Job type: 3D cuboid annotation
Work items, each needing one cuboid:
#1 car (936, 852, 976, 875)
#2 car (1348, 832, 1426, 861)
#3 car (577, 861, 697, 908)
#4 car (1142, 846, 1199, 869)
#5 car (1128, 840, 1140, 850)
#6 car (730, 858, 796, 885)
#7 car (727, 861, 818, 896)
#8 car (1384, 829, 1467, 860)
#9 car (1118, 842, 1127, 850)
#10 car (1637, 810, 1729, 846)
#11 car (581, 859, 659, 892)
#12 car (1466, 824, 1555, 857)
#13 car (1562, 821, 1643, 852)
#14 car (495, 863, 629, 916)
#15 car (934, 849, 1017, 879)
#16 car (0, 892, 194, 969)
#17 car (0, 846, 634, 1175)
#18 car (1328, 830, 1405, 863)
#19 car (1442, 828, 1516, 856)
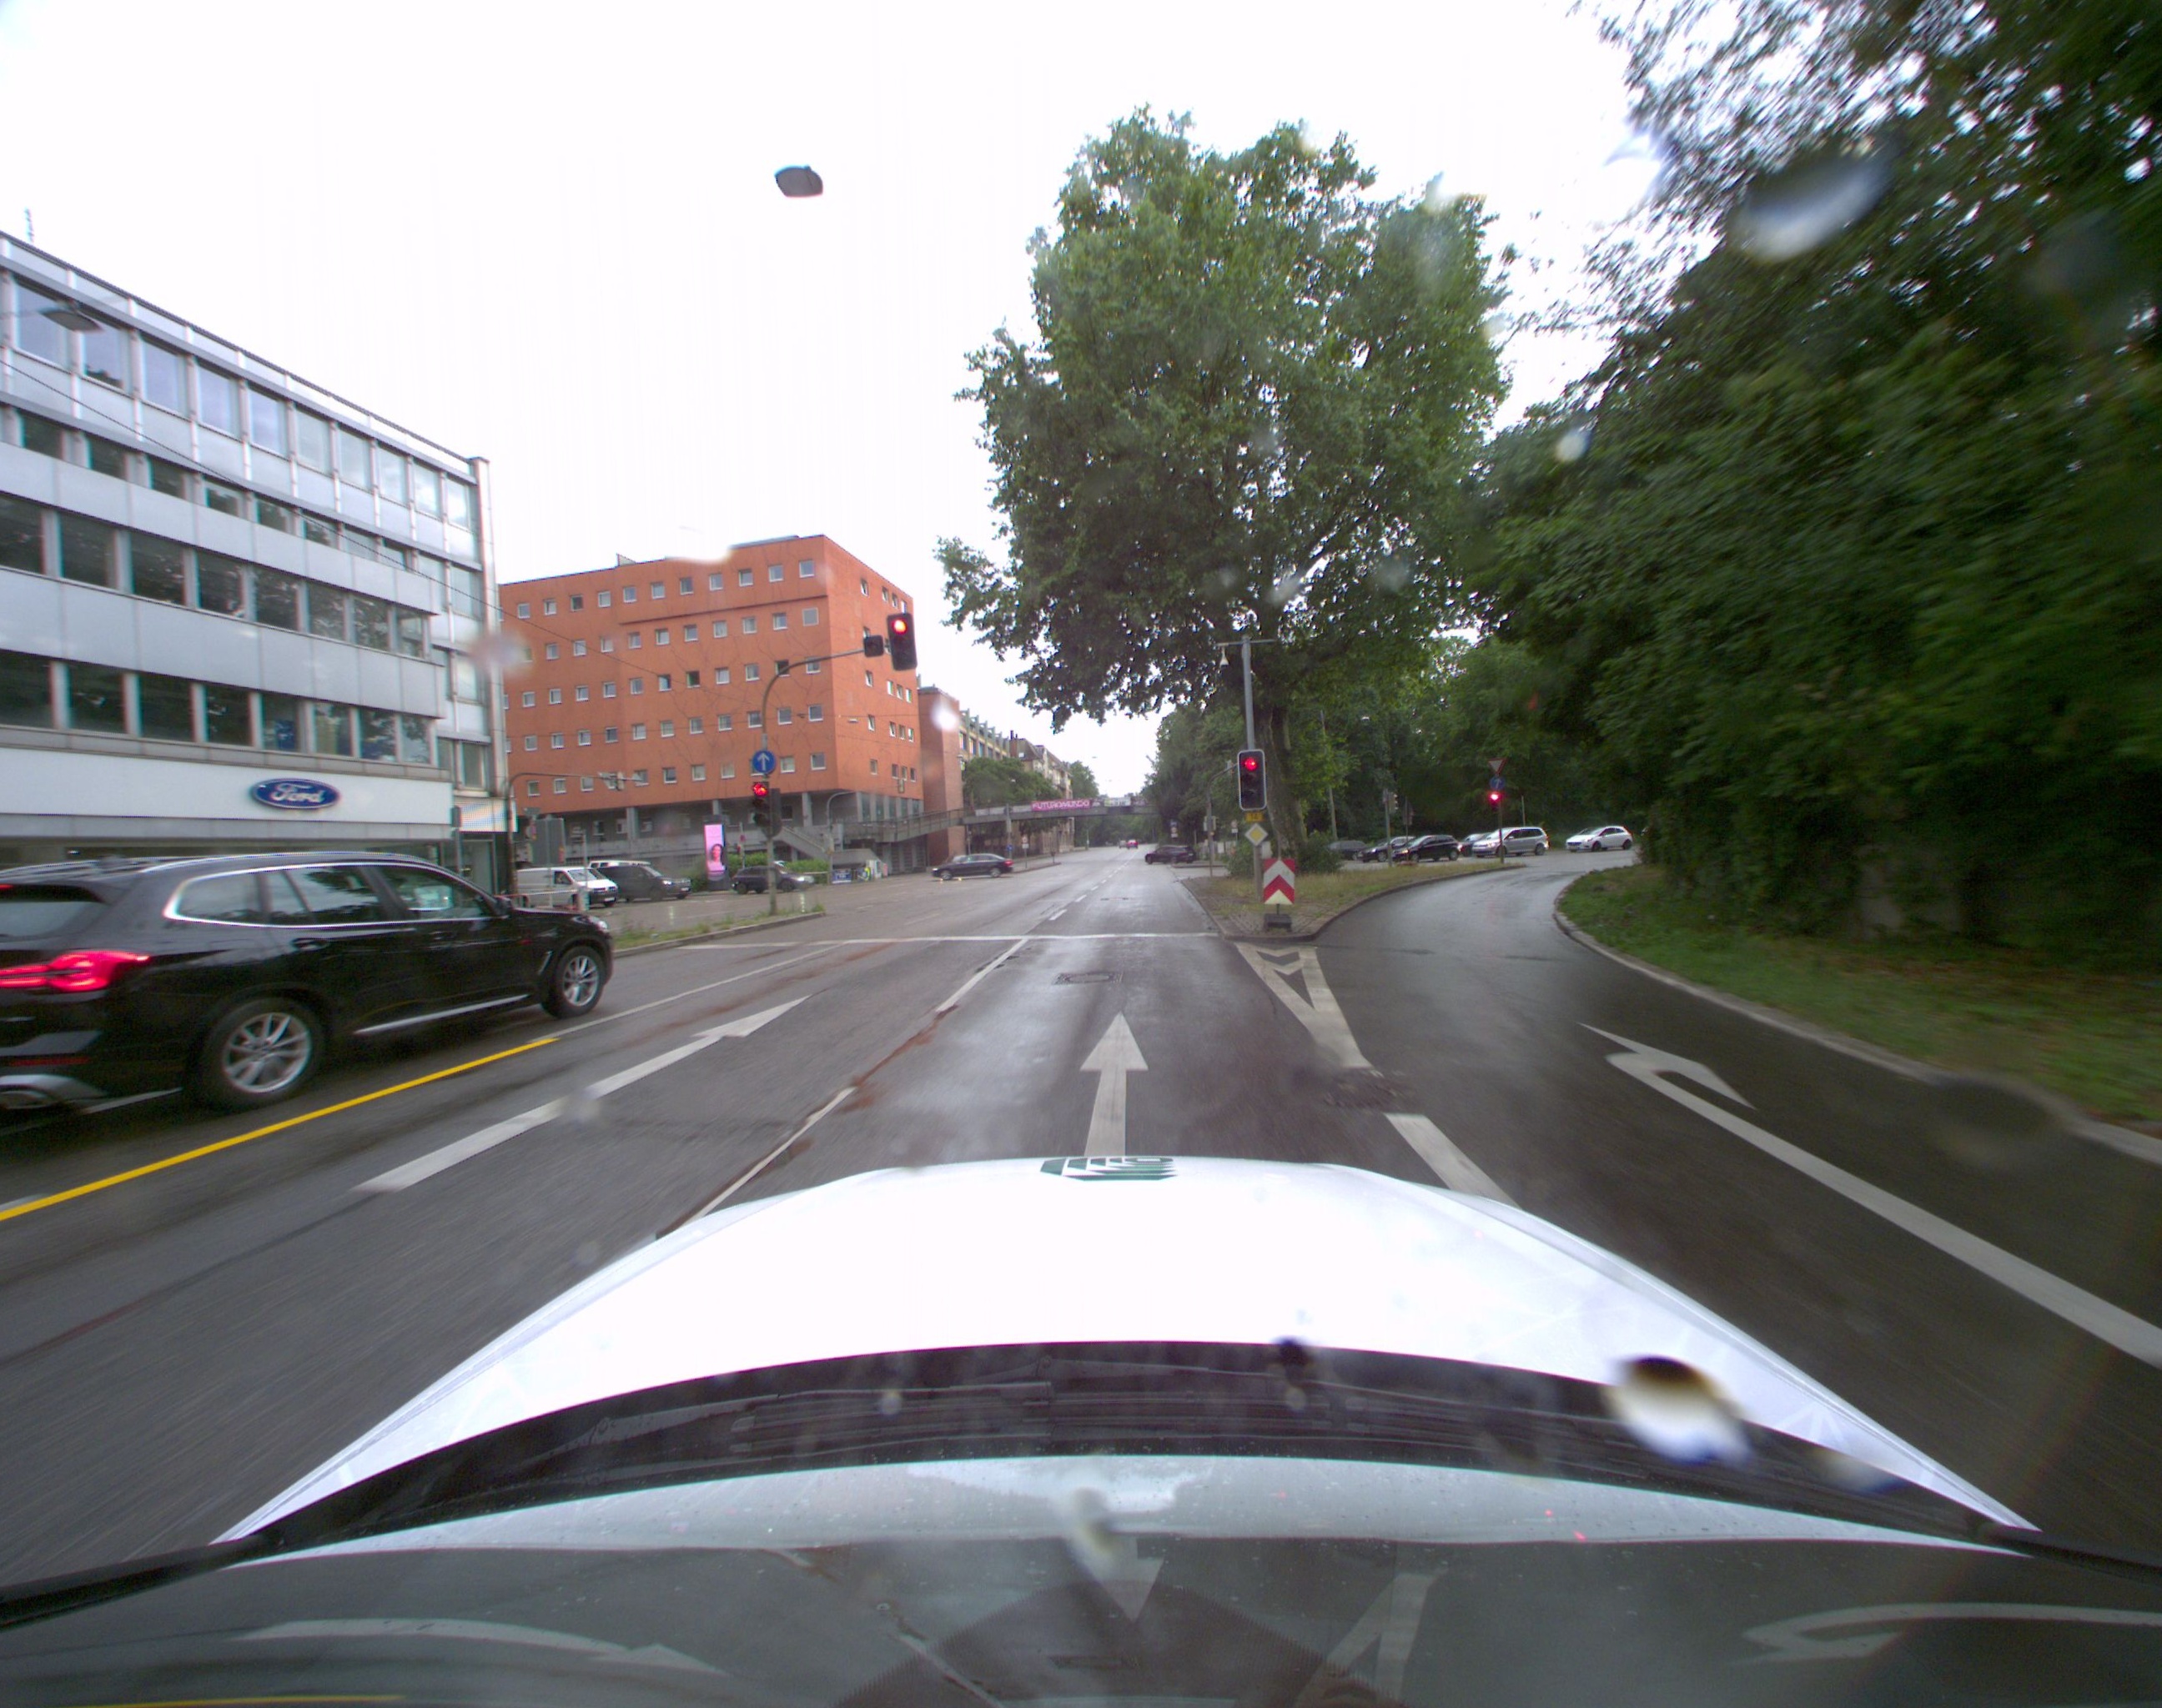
[{"bbox_3d":[-9.236,0.700,60.397,1.985,1.519,4.004,-3,0,4],"label":"car"},{"bbox_3d":[18.140,-0.440,48.267,3.996,1.486,1.868,-2,0,-17],"label":"car"},{"bbox_3d":[-22.111,1.506,40.596,5.042,1.845,2.007,-5,-1,12],"label":"car"},{"bbox_3d":[6.723,0.278,61.647,1.888,1.637,4.478,-3,1,-33],"label":"car"},{"bbox_3d":[10.157,-1.773,157.689,2.113,1.734,4.200,-1,1,1],"label":"car"},{"bbox_3d":[-23.174,1.270,59.349,3.987,1.618,1.901,-5,0,13],"label":"car"},{"bbox_3d":[-16.037,1.285,42.432,4.107,1.446,1.591,-5,0,12],"label":"car"},{"bbox_3d":[18.727,-0.509,44.357,3.856,1.485,1.666,-3,-1,-12],"label":"car"},{"bbox_3d":[9.021,-1.763,177.046,1.756,1.697,3.709,-5,0,3],"label":"car"},{"bbox_3d":[36.592,-1.573,49.508,4.856,1.922,1.898,-3,0,-17],"label":"car"},{"bbox_3d":[-31.046,1.415,55.005,1.982,2.013,4.863,1,0,8],"label":"car"},{"bbox_3d":[24.325,-0.774,46.162,4.264,1.486,1.767,-5,0,-13],"label":"car"},{"bbox_3d":[30.703,-1.030,47.940,3.997,1.486,1.764,-5,0,-17],"label":"car"},{"bbox_3d":[-23.715,1.607,37.269,5.159,1.932,2.007,-5,0,13],"label":"car"},{"bbox_3d":[-6.071,0.579,47.273,4.594,1.451,1.771,-3,0,-4],"label":"car"},{"bbox_3d":[-28.839,2.198,23.084,4.752,1.738,1.996,-5,0,-6],"label":"car"},{"bbox_3d":[-5.987,0.791,6.500,1.938,1.597,4.676,-1,1,4],"label":"car"},{"bbox_3d":[19.014,-0.505,54.343,4.321,1.835,2.137,-5,0,2],"label":"car"},{"bbox_3d":[24.126,-0.744,49.402,3.832,1.486,1.735,-3,0,-17],"label":"car"}]
